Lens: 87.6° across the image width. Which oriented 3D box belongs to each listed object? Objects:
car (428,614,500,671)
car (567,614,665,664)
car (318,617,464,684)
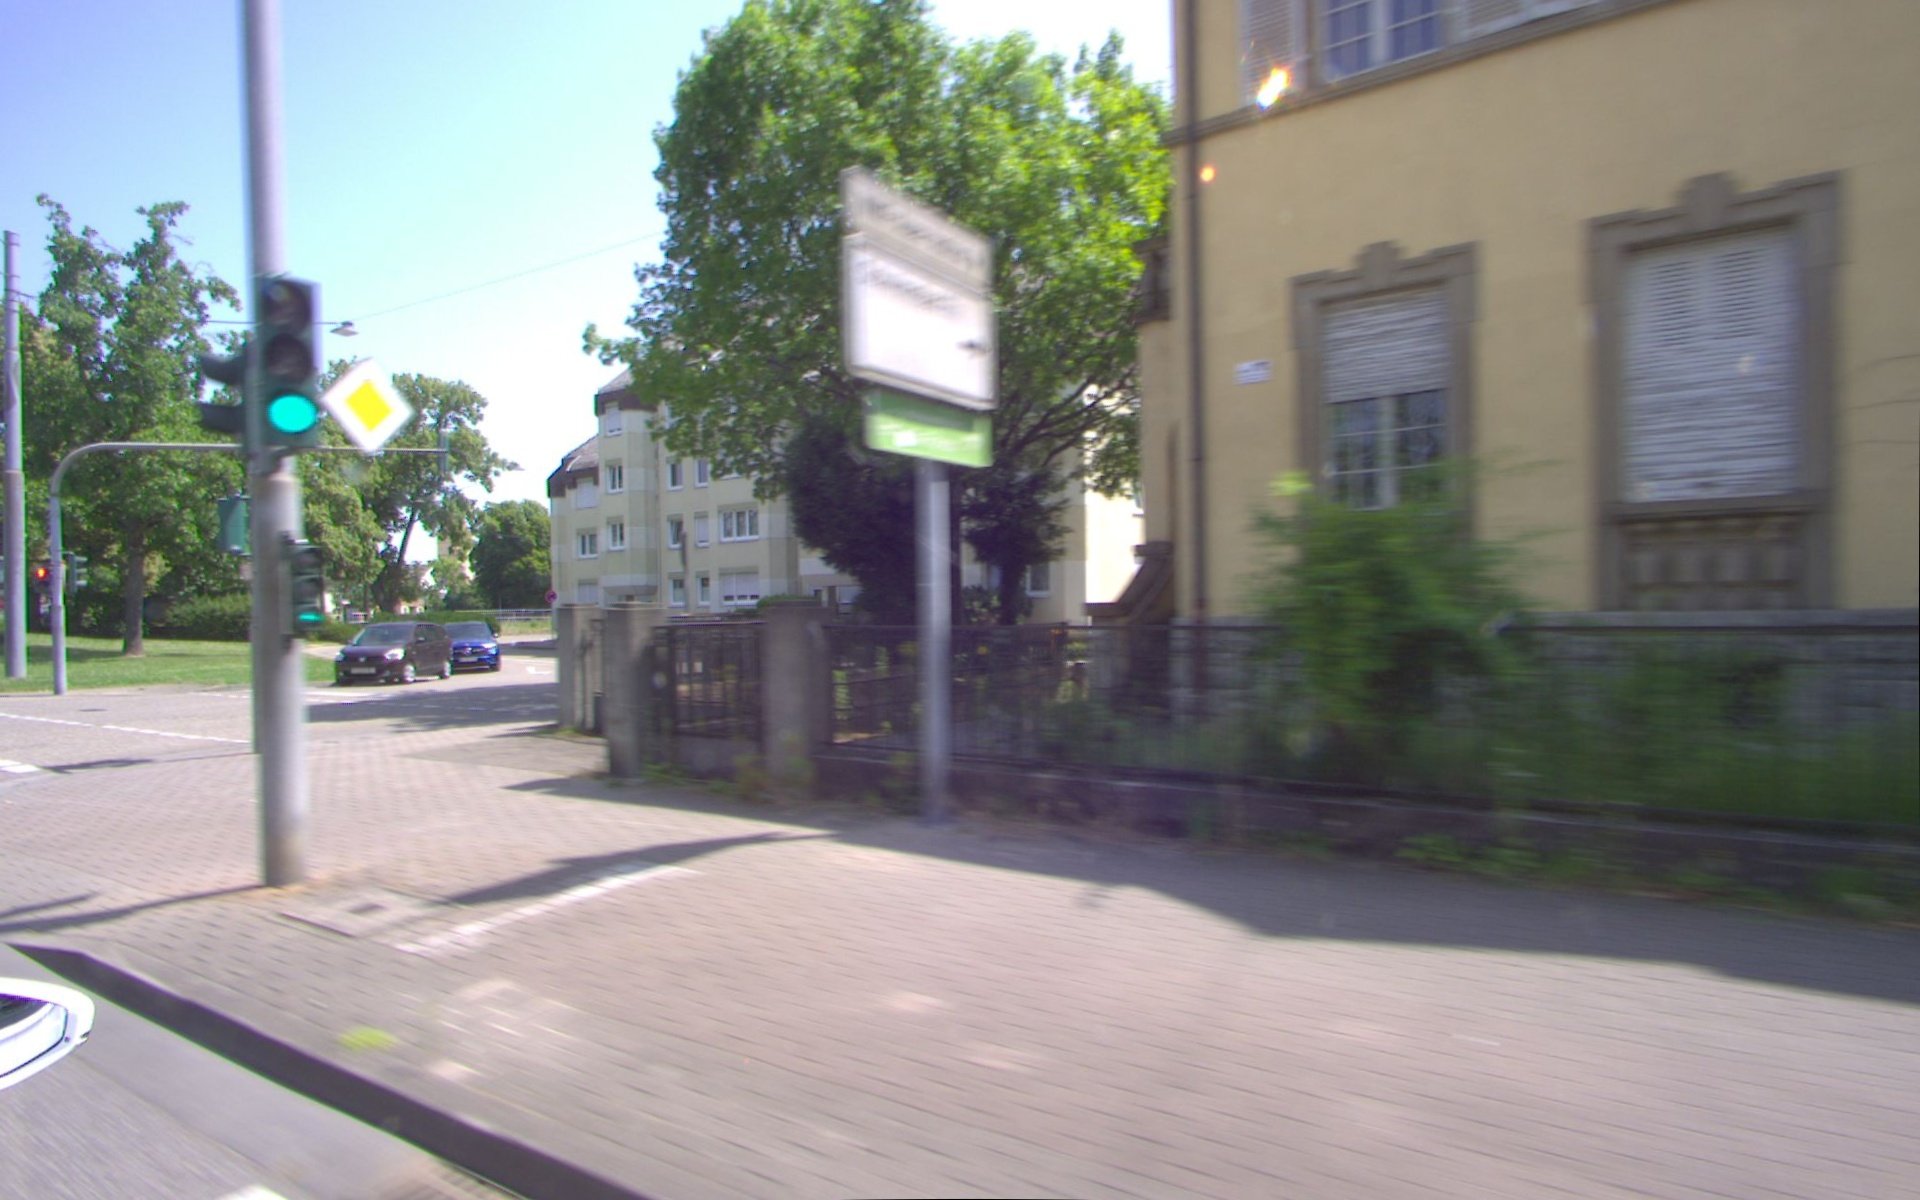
[{"bbox_3d":[-16.556,1.364,33.402,1.969,1.723,4.748,-1,-1,-27],"label":"car"},{"bbox_3d":[-12.171,1.324,35.237,1.875,1.520,4.496,-5,2,-37],"label":"car"},{"bbox_3d":[-15.409,1.318,27.439,1.881,1.653,4.817,-1,-1,-9],"label":"car"}]
